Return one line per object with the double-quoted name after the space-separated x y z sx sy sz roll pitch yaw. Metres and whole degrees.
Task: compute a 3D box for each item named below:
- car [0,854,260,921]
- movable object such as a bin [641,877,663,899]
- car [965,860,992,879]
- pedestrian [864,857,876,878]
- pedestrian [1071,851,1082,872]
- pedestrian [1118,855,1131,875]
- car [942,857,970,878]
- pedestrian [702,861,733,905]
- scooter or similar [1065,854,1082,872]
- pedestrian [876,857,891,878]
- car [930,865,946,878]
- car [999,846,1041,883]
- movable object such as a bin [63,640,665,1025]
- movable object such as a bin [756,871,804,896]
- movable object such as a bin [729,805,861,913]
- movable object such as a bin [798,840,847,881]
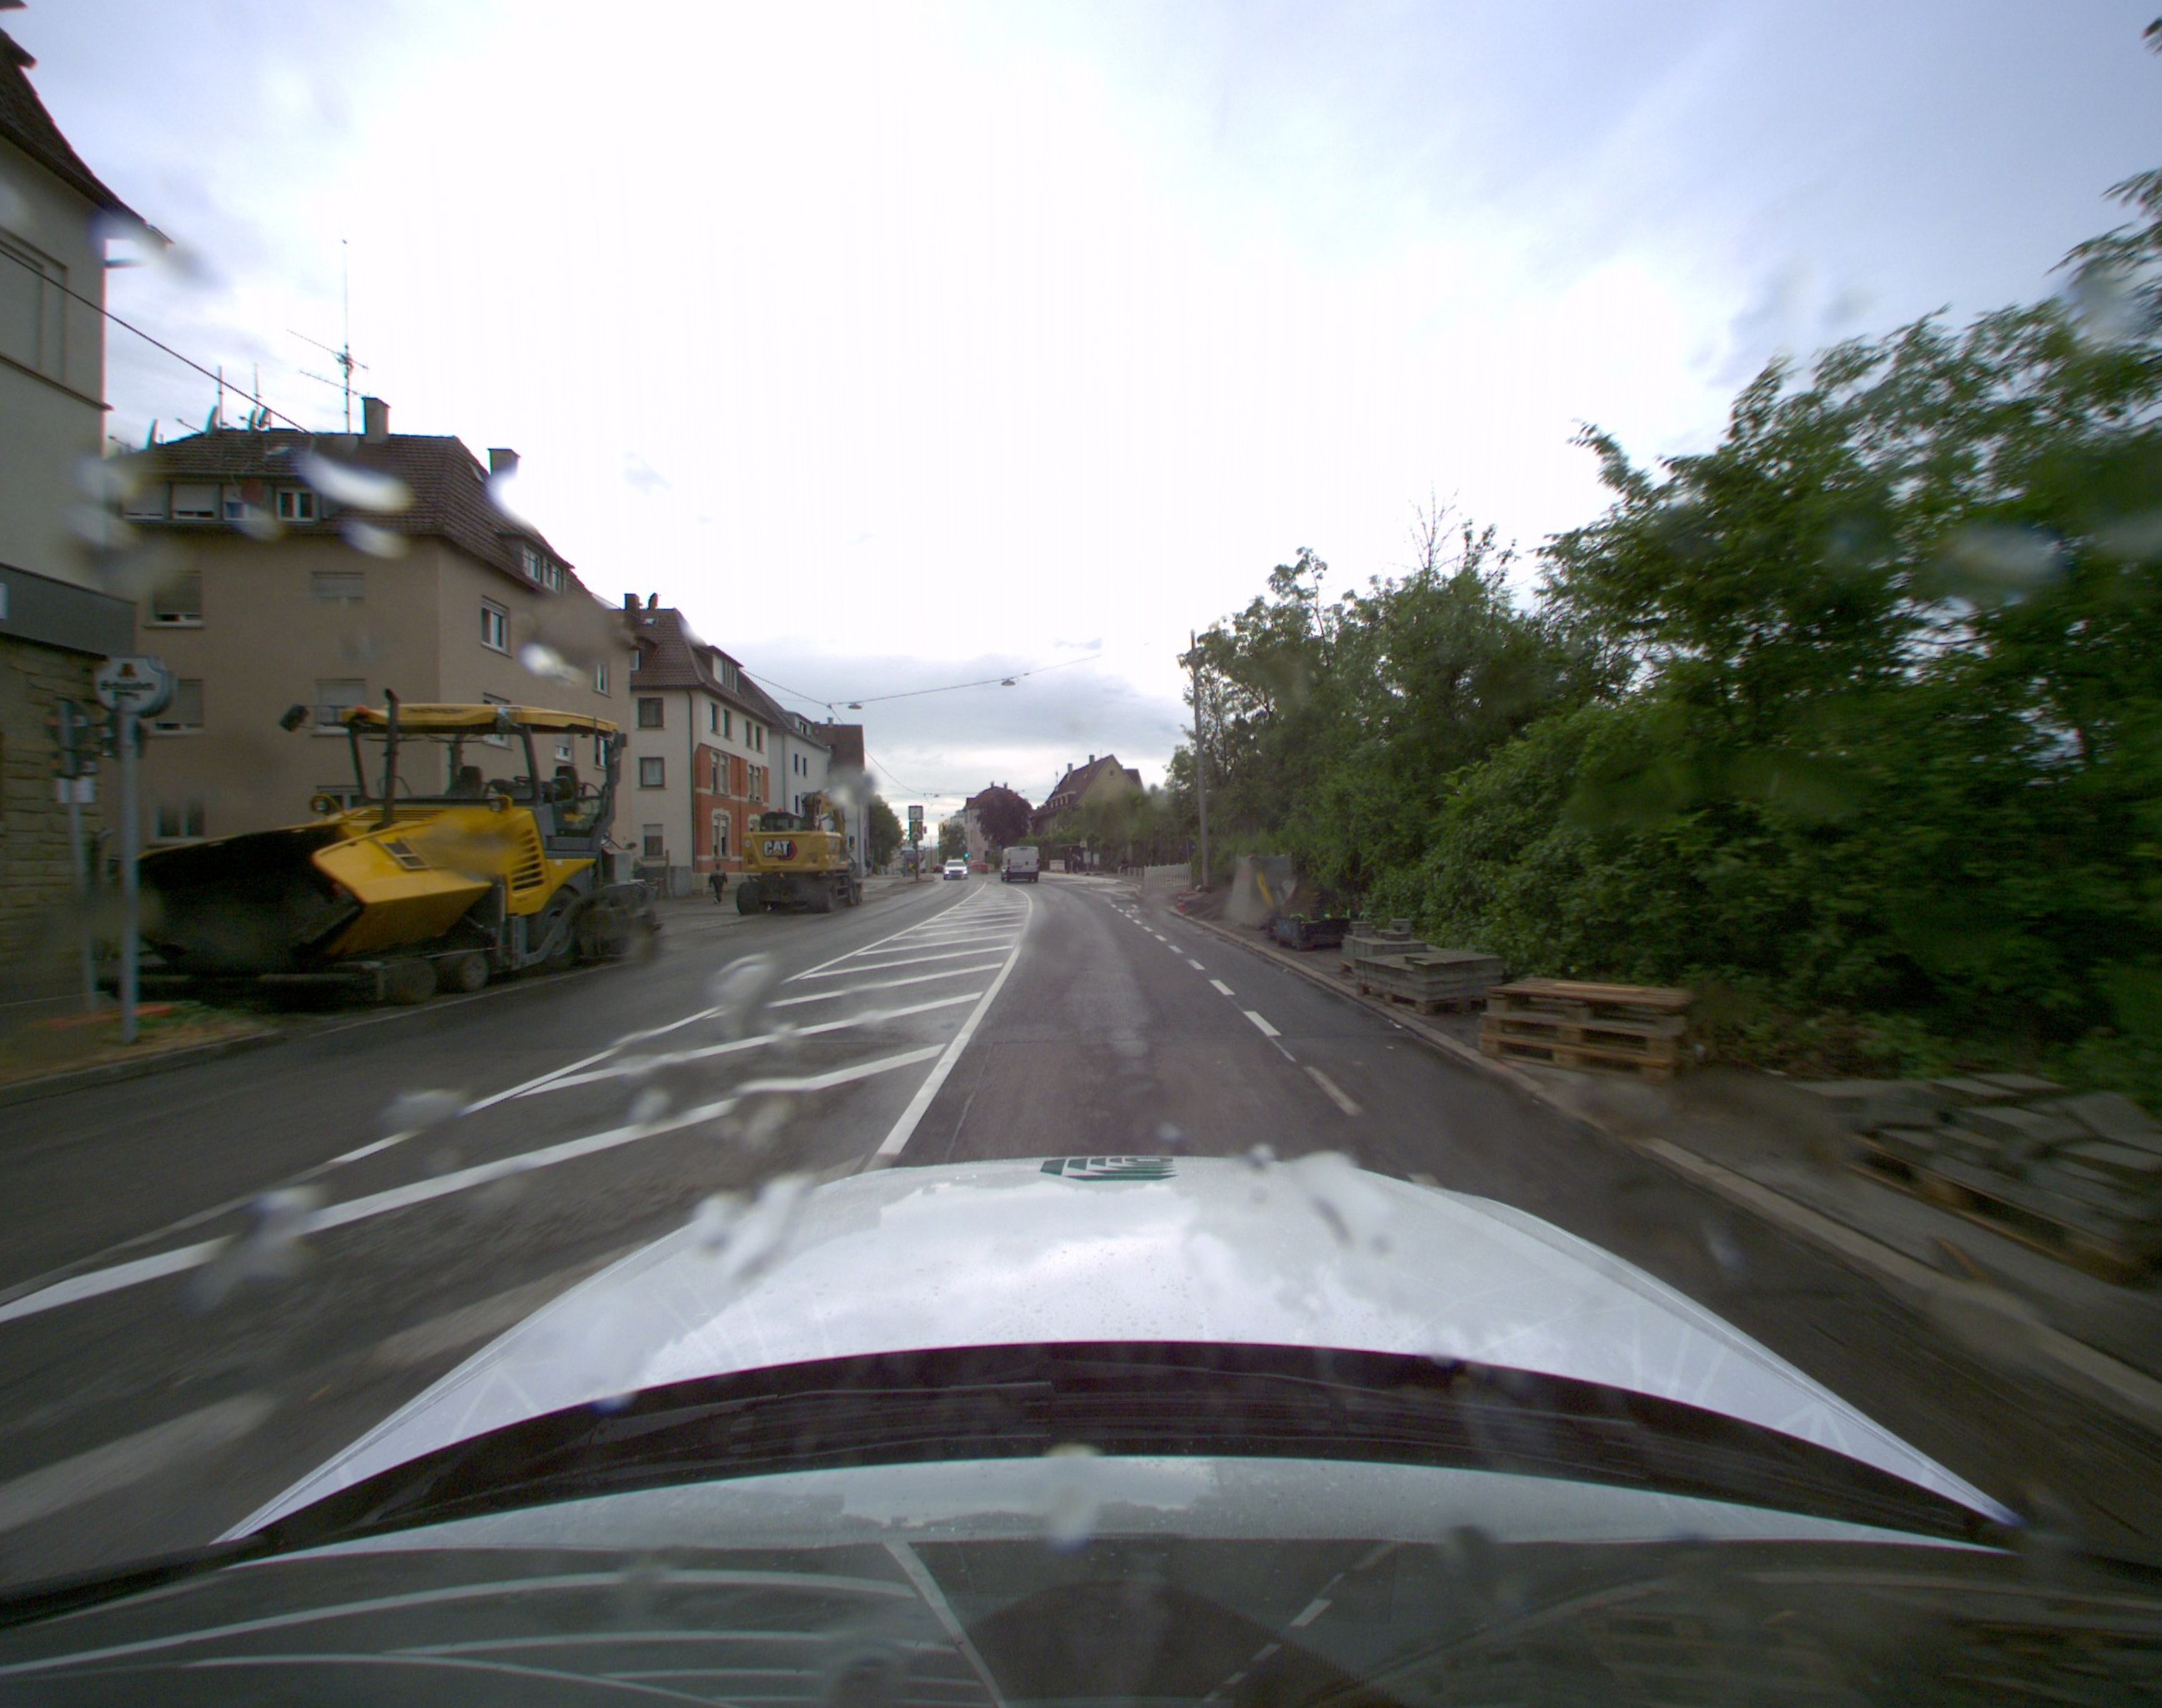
-22.350 0.753 19.184 3.977 1.442 1.851 0 1 -3 "car"
-18.112 1.440 34.396 0.633 0.898 0.573 0 1 -8 "movable object such as a bin"
-10.587 1.583 84.058 2.241 1.656 4.691 0 1 -14 "car"
-20.797 1.349 80.236 1.080 2.013 1.047 0 1 -14 "pedestrian"
-0.364 0.618 67.024 0.903 1.731 0.653 0 1 -1 "pedestrian"
3.097 0.772 58.417 0.876 1.367 1.065 0 1 -1 "pedestrian"
-9.743 1.033 63.180 1.930 1.556 4.600 0 -1 -12 "car"
-13.953 1.099 31.253 0.763 1.588 1.089 0 1 -6 "pedestrian"
-0.611 0.705 67.173 0.491 1.406 1.565 1 3 43 "scooter or similar"
-19.167 1.300 78.971 1.214 2.013 1.042 -1 1 -30 "pedestrian"
-21.783 2.639 124.263 2.239 1.804 4.694 0 1 -12 "car"
-4.018 0.614 53.065 2.238 2.213 4.696 0 1 -11 "car"
-8.698 -0.283 11.141 2.764 3.855 5.990 0 1 1 "movable object such as a bin"
-16.684 1.614 45.307 1.551 1.355 3.991 0 -2 -6 "movable object such as a bin"
-9.029 0.145 26.186 2.864 3.173 4.122 0 0 -2 "movable object such as a bin"
-17.967 0.409 56.863 1.988 2.682 4.626 0 1 -1 "movable object such as a bin"
